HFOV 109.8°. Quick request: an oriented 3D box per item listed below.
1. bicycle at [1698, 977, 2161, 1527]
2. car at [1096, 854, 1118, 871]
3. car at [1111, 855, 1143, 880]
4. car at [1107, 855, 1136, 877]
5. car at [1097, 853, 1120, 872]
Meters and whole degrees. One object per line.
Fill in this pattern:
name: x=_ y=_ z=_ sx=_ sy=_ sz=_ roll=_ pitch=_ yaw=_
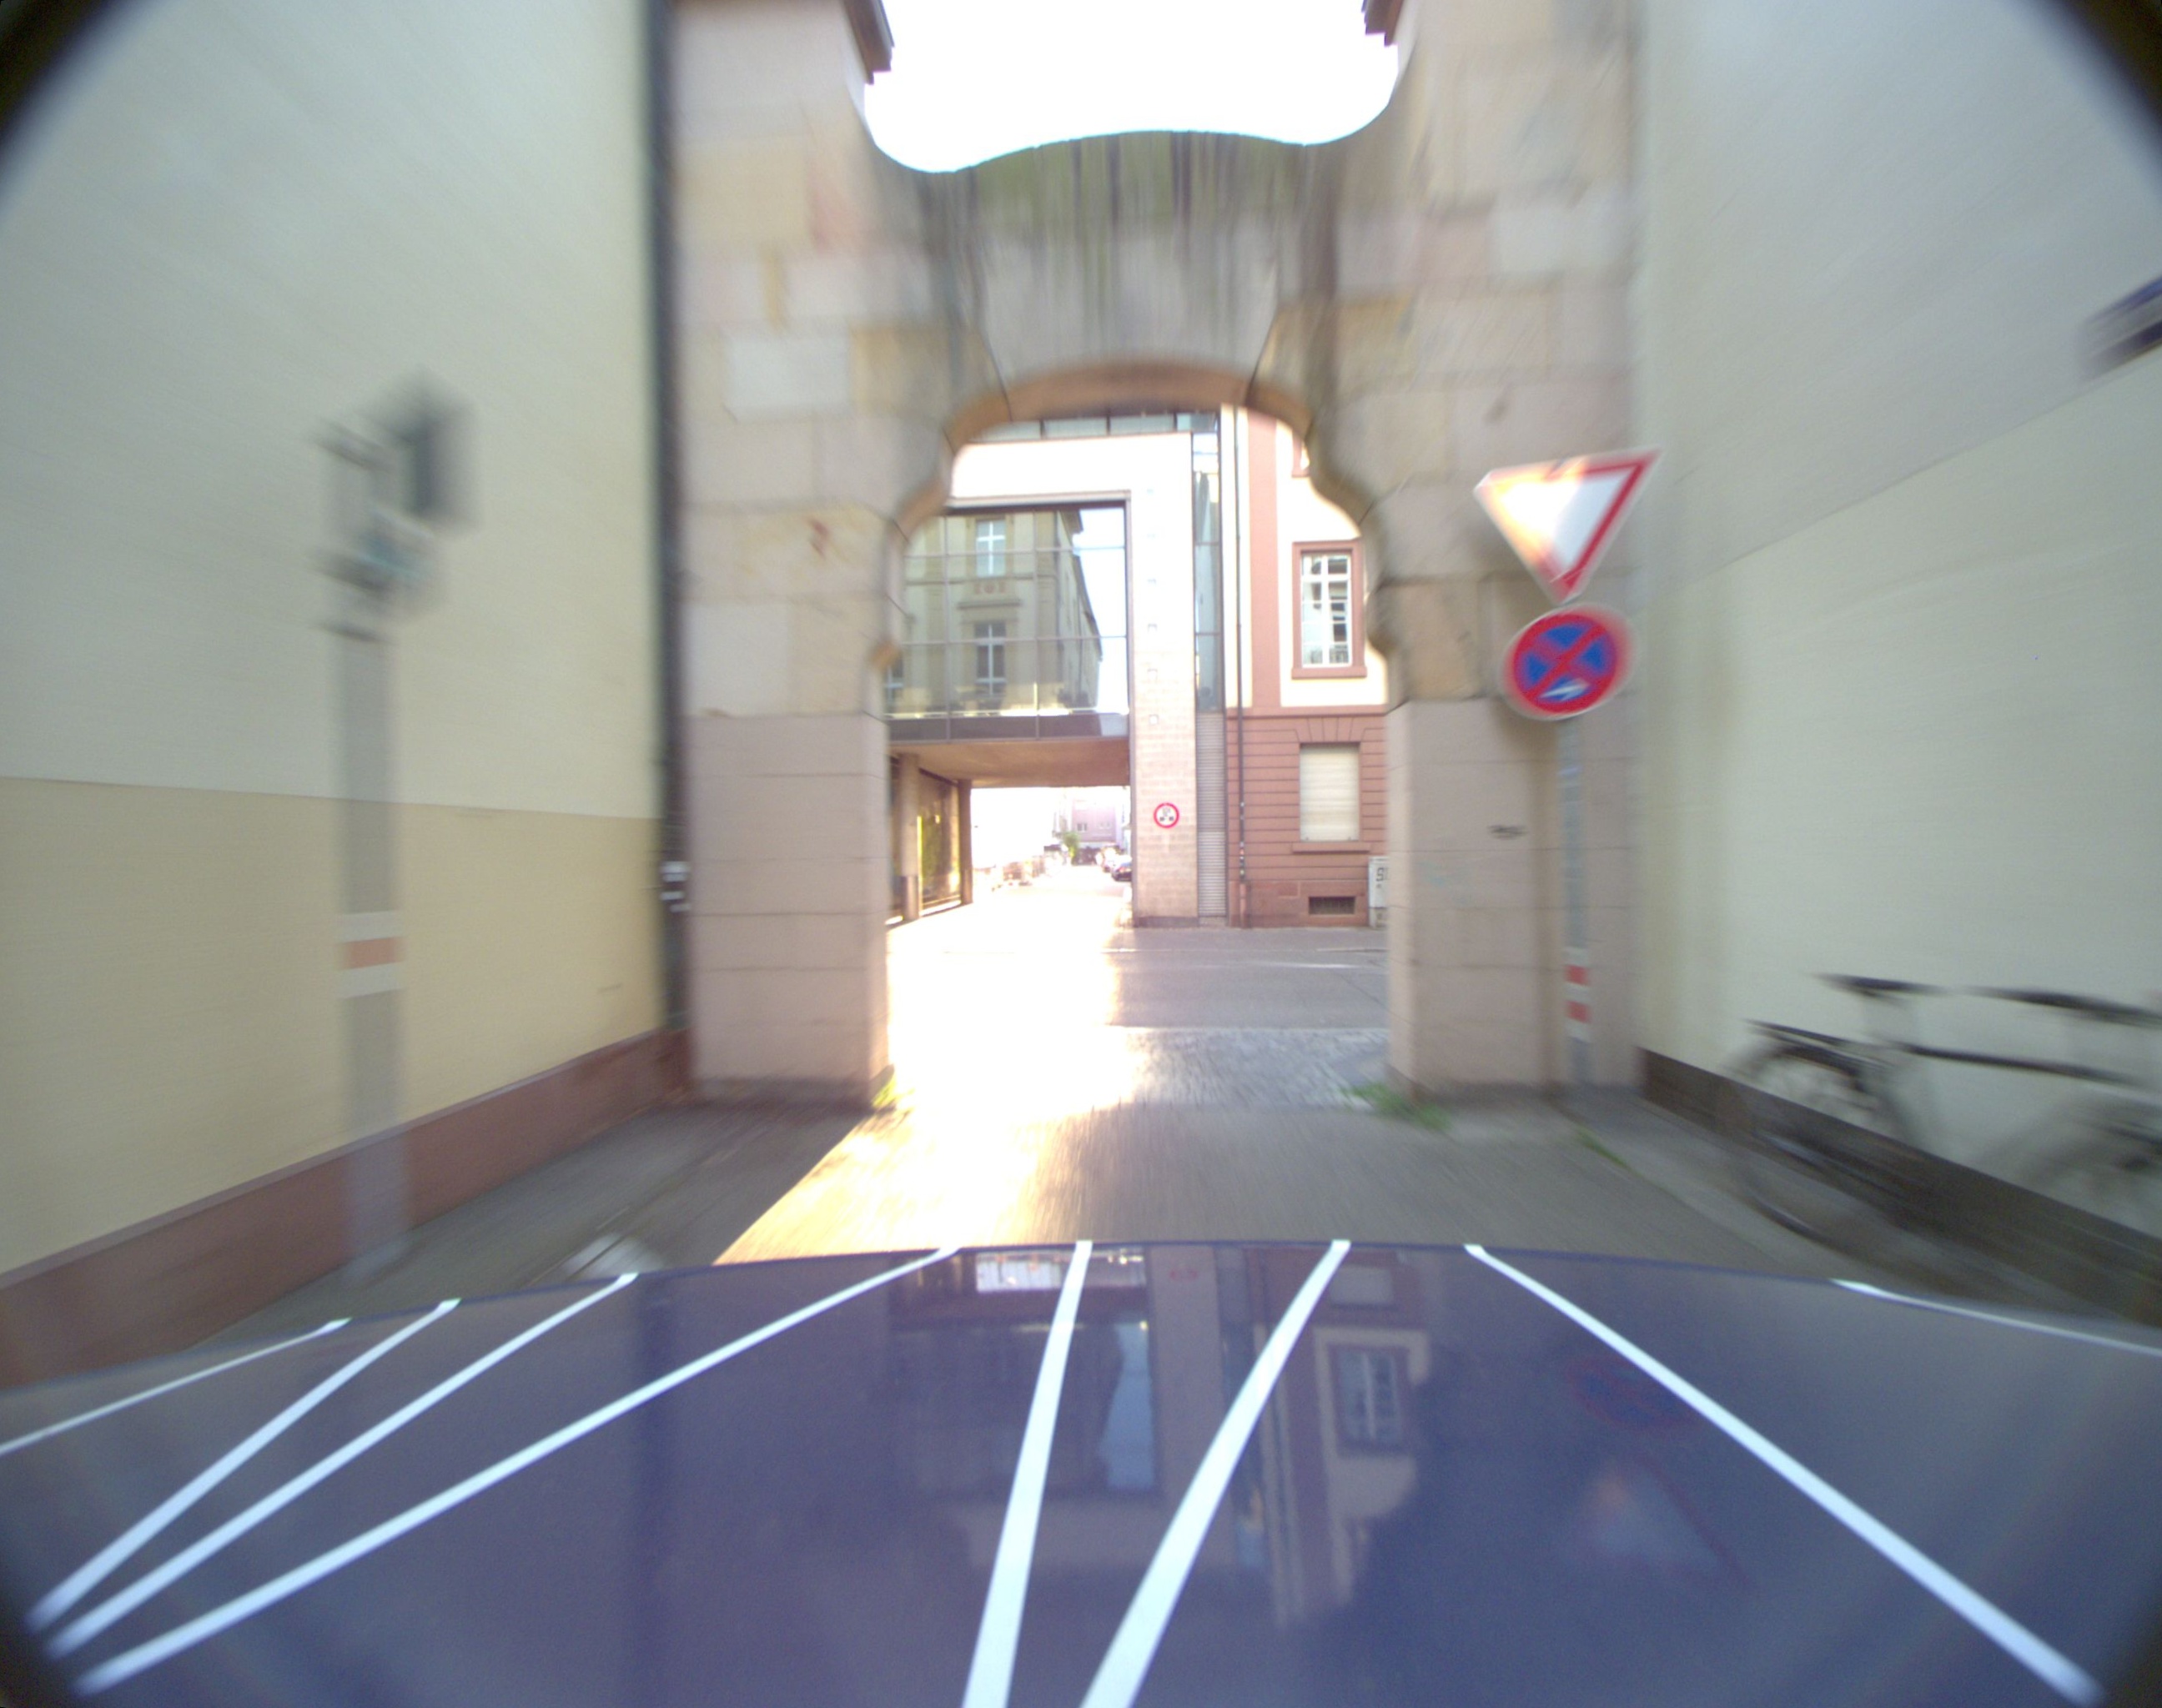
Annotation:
bicycle: x=2.840 y=1.035 z=2.292 sx=0.596 sy=1.073 sz=1.757 roll=-1 pitch=-1 yaw=4
car: x=2.258 y=0.739 z=67.394 sx=1.601 sy=1.484 sz=3.444 roll=-1 pitch=0 yaw=-3
car: x=2.923 y=0.845 z=48.732 sx=1.601 sy=1.484 sz=3.444 roll=-1 pitch=0 yaw=-3
car: x=2.752 y=0.821 z=52.573 sx=1.601 sy=1.484 sz=3.444 roll=-1 pitch=0 yaw=-3
car: x=2.250 y=0.719 z=62.504 sx=1.601 sy=1.484 sz=3.444 roll=-1 pitch=0 yaw=-3
